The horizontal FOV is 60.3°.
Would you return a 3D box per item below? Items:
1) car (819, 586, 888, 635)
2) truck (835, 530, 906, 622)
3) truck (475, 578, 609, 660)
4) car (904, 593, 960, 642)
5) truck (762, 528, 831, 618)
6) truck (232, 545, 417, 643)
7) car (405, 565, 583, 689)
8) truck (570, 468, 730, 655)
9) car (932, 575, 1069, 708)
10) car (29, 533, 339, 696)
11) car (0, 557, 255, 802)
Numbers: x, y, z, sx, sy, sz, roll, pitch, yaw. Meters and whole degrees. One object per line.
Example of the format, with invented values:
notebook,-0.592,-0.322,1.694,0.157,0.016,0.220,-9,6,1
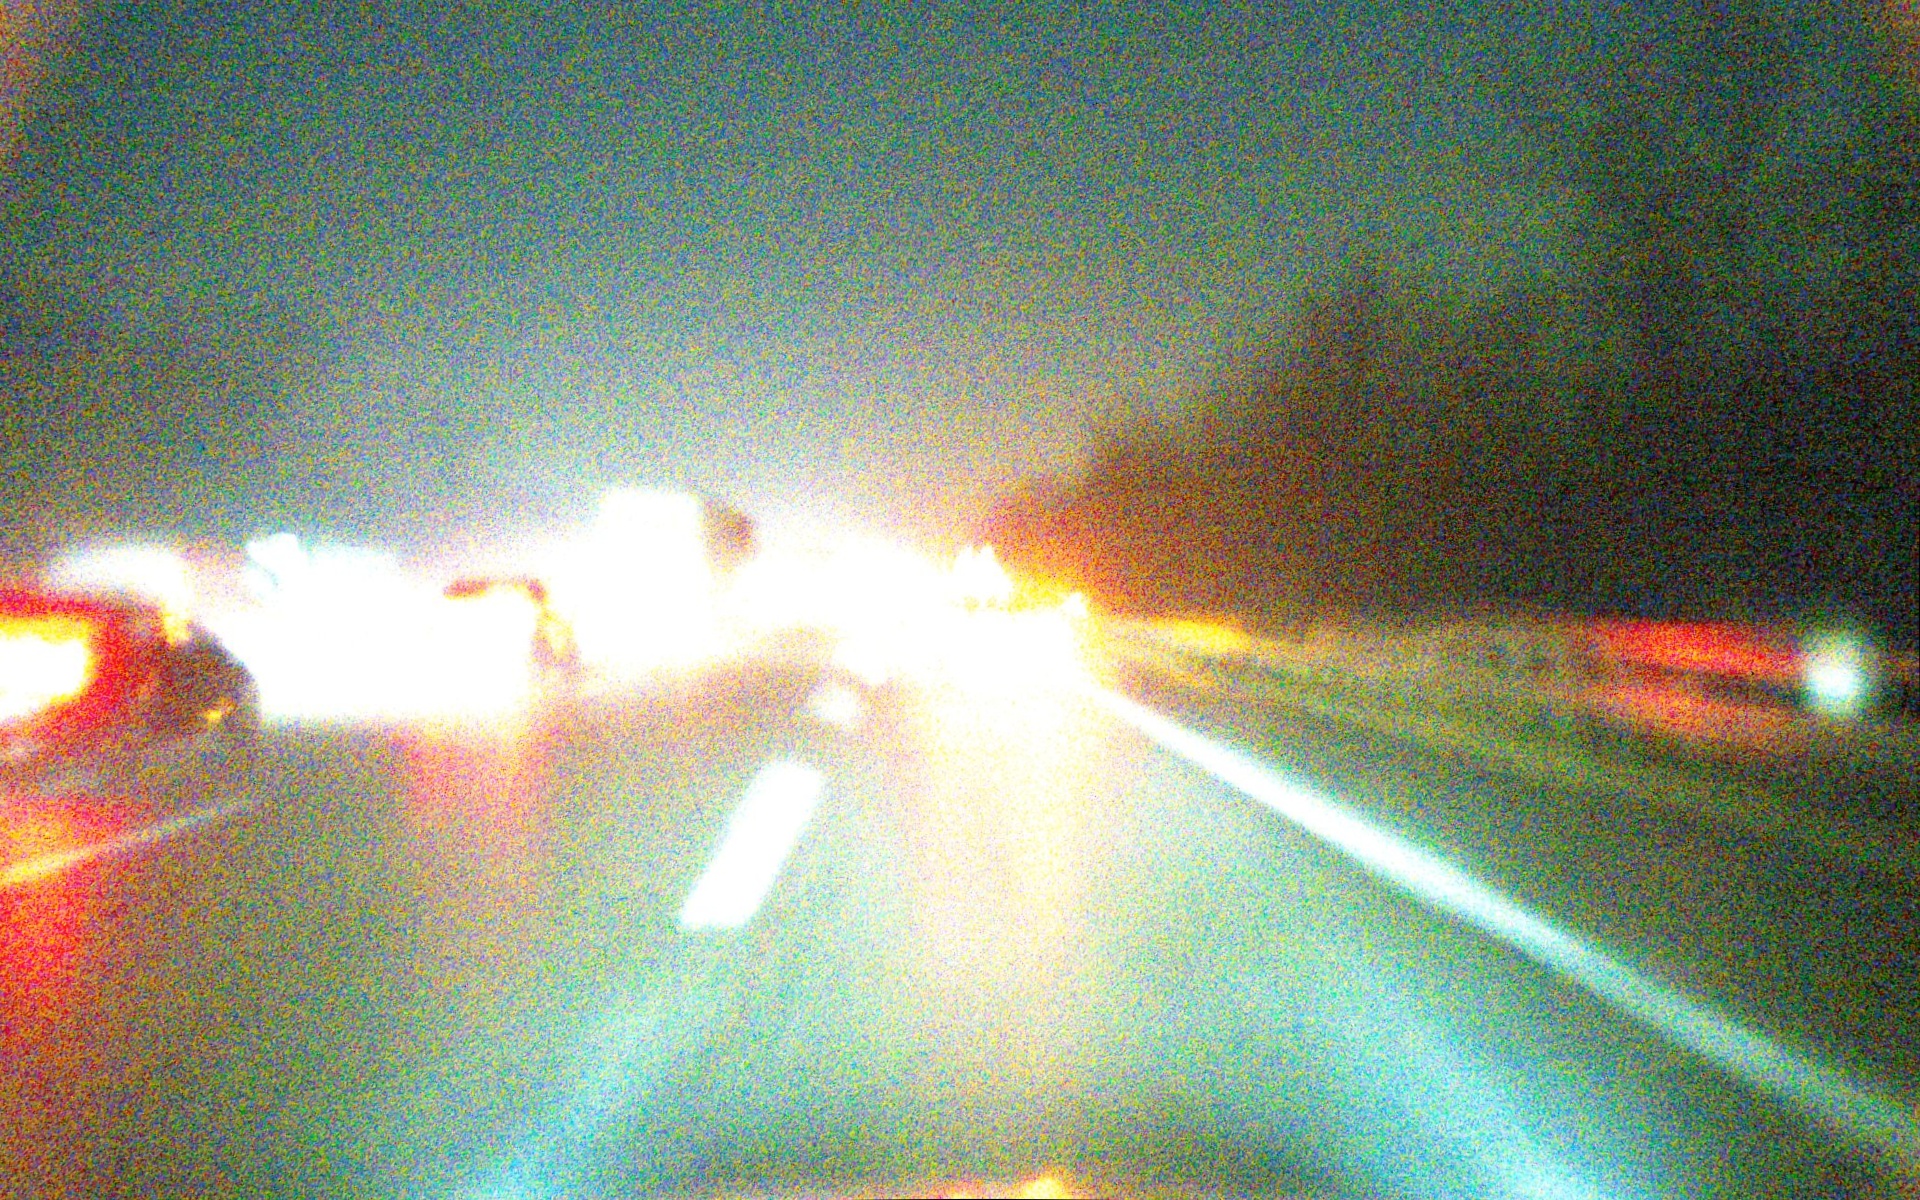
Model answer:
car,-4.749,0.455,74.362,2.775,2.049,5.509,1,0,-1
truck,-5.558,-1.408,101.595,4.079,5.306,9.946,1,0,-4
truck,-12.211,0.530,48.796,2.801,2.239,5.854,1,0,-4
car,-1.044,0.622,61.563,1.953,1.733,4.457,1,0,-1
truck,-10.551,-1.679,107.840,4.171,5.539,10.873,1,0,-5
truck,-33.229,-0.294,87.740,3.341,4.638,17.594,1,0,-1
car,-7.364,0.403,26.564,2.000,1.792,4.509,1,0,-6
truck,-8.769,-1.004,48.124,3.585,4.820,9.841,1,0,-5
car,0.536,0.568,24.678,1.840,1.793,3.999,1,0,-1
car,-11.360,0.183,24.792,2.080,2.141,5.628,1,0,-1
car,-7.338,0.519,13.538,1.731,1.718,3.996,1,1,-6
